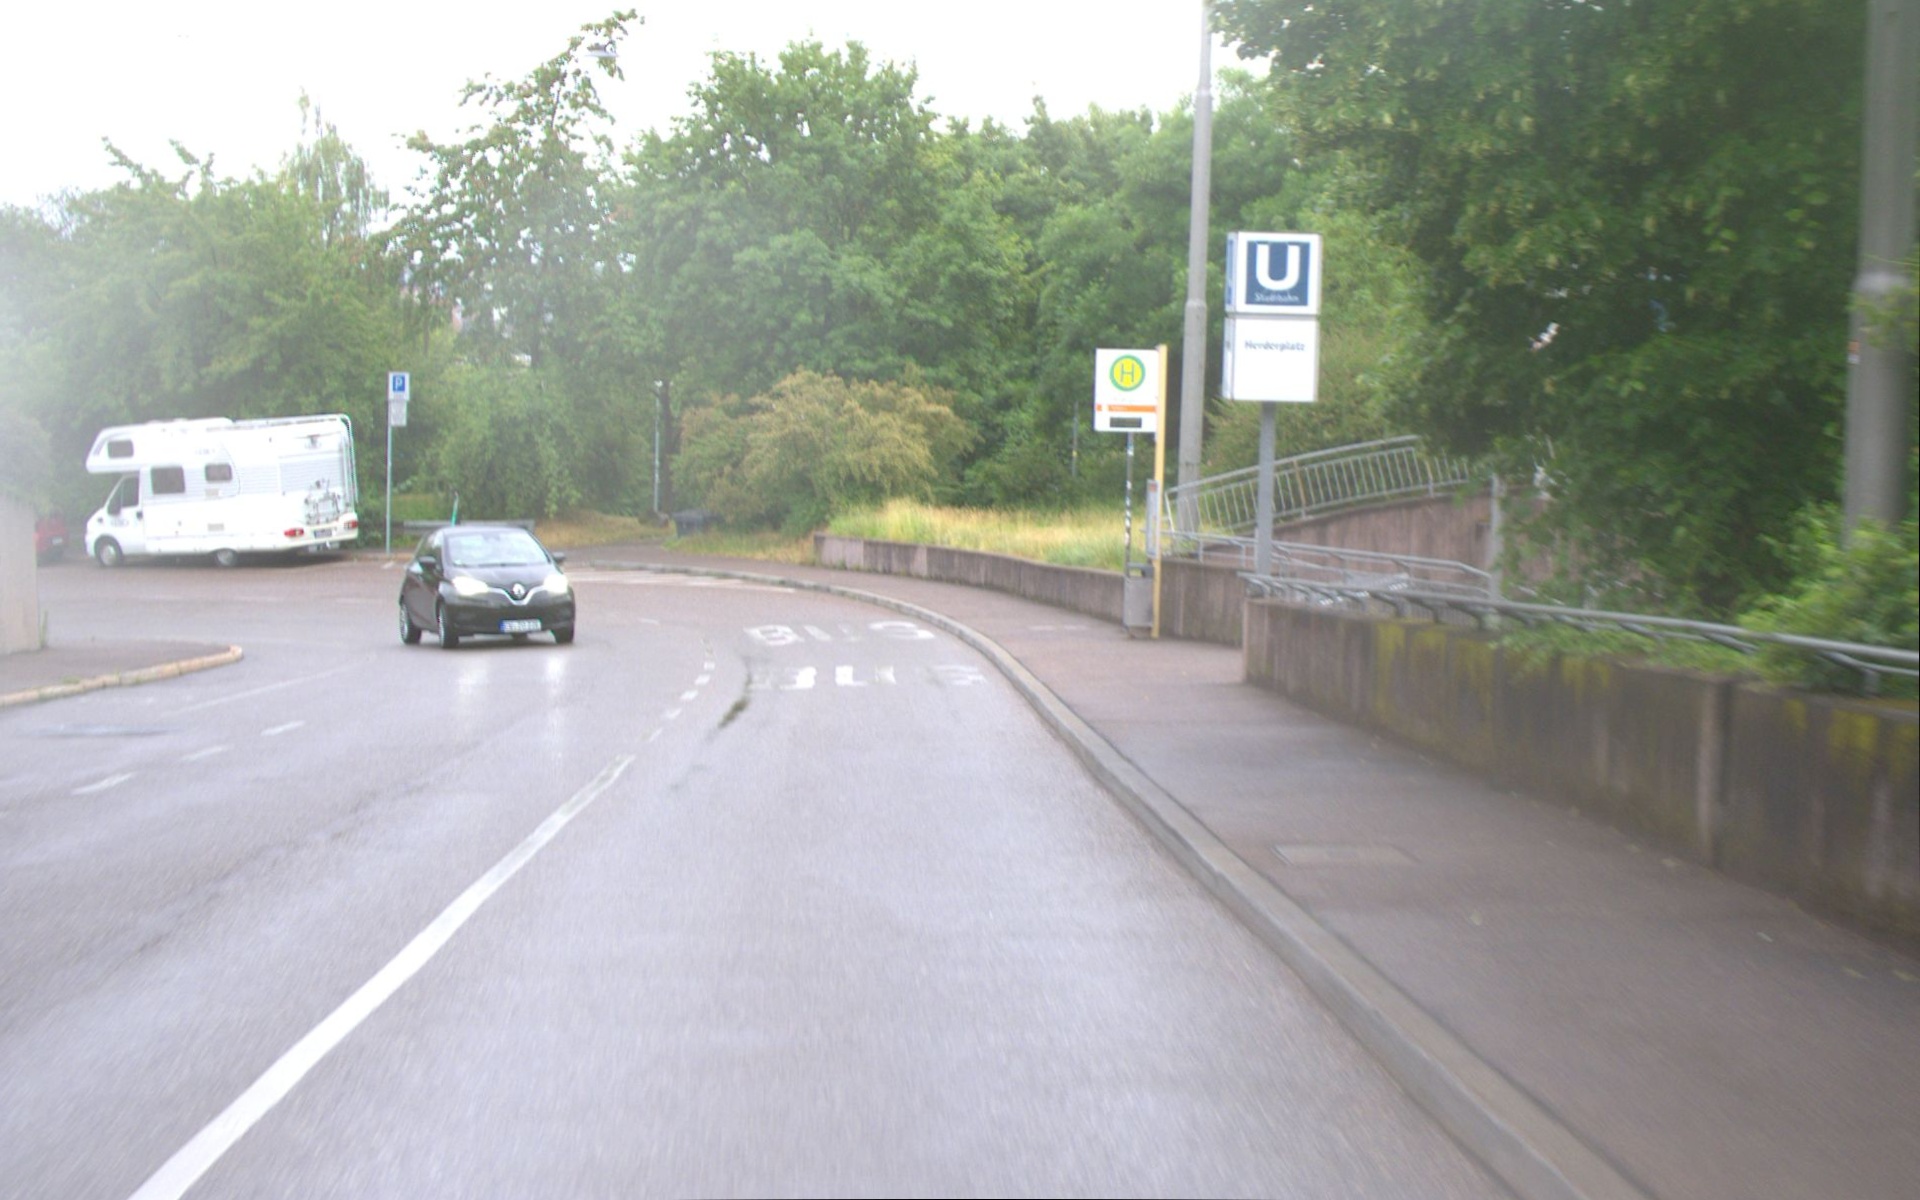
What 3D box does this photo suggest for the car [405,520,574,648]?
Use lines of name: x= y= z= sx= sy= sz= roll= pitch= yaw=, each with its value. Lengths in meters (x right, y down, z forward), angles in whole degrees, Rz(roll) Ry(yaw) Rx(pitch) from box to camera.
car: x=-6.221 y=-0.248 z=45.145 sx=1.767 sy=1.515 sz=3.977 roll=-2 pitch=2 yaw=-14

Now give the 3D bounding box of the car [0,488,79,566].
car: x=-21.041 y=-1.504 z=73.552 sx=3.795 sy=1.455 sz=1.646 roll=-2 pitch=7 yaw=10

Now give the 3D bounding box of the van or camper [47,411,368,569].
van or camper: x=-15.632 y=-2.266 z=71.339 sx=6.271 sy=2.933 sz=2.394 roll=0 pitch=7 yaw=30

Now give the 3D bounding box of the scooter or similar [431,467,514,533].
scooter or similar: x=-10.086 y=-2.071 z=71.130 sx=1.707 sy=1.278 sz=0.451 roll=-1 pitch=4 yaw=31
